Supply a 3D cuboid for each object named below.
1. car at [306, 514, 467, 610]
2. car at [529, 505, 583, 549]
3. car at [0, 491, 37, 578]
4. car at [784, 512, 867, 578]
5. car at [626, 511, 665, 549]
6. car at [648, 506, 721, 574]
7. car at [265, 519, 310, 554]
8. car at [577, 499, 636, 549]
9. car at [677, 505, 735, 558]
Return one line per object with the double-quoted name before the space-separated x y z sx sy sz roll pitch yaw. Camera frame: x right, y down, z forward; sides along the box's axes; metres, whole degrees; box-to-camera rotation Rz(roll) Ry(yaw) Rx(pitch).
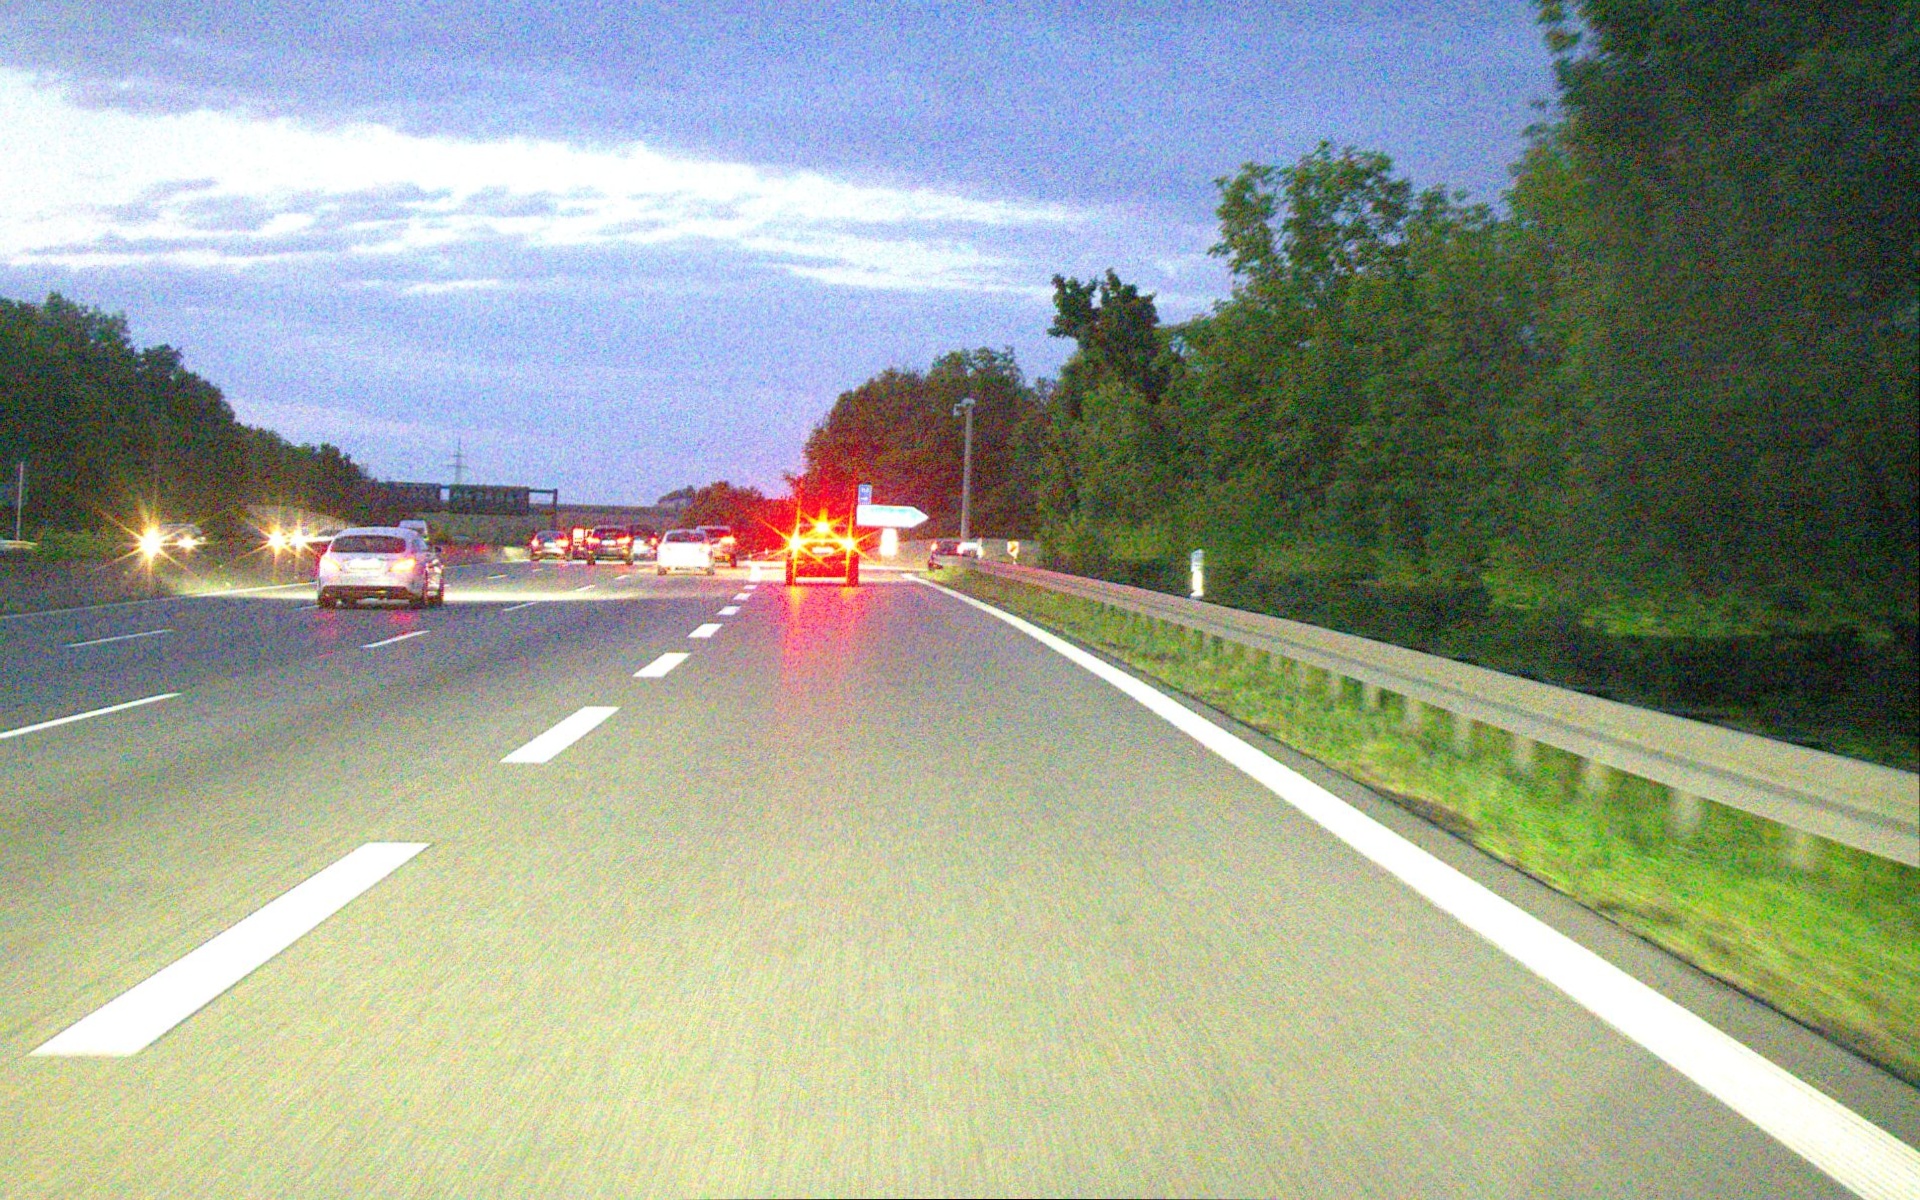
"car" -10.201 -0.705 61.433 1.993 1.637 4.555 0 1 2
"car" -18.841 -3.410 160.383 2.104 2.007 4.000 0 1 -1
"car" -23.093 -1.548 80.118 1.993 2.007 4.489 1 1 0
"car" -3.508 -1.448 89.017 1.993 1.653 4.316 0 1 -4
"car" -16.770 -3.728 183.363 1.993 2.007 4.001 1 1 -5
"car" -8.373 -1.840 104.734 1.993 2.007 4.000 1 1 -2
"car" -38.571 -3.647 197.201 2.027 2.007 4.239 1 1 -5
"car" -14.383 -3.105 140.058 2.071 2.007 4.000 0 1 -1
"car" -9.757 -2.631 132.414 1.993 2.007 4.000 0 1 -1
